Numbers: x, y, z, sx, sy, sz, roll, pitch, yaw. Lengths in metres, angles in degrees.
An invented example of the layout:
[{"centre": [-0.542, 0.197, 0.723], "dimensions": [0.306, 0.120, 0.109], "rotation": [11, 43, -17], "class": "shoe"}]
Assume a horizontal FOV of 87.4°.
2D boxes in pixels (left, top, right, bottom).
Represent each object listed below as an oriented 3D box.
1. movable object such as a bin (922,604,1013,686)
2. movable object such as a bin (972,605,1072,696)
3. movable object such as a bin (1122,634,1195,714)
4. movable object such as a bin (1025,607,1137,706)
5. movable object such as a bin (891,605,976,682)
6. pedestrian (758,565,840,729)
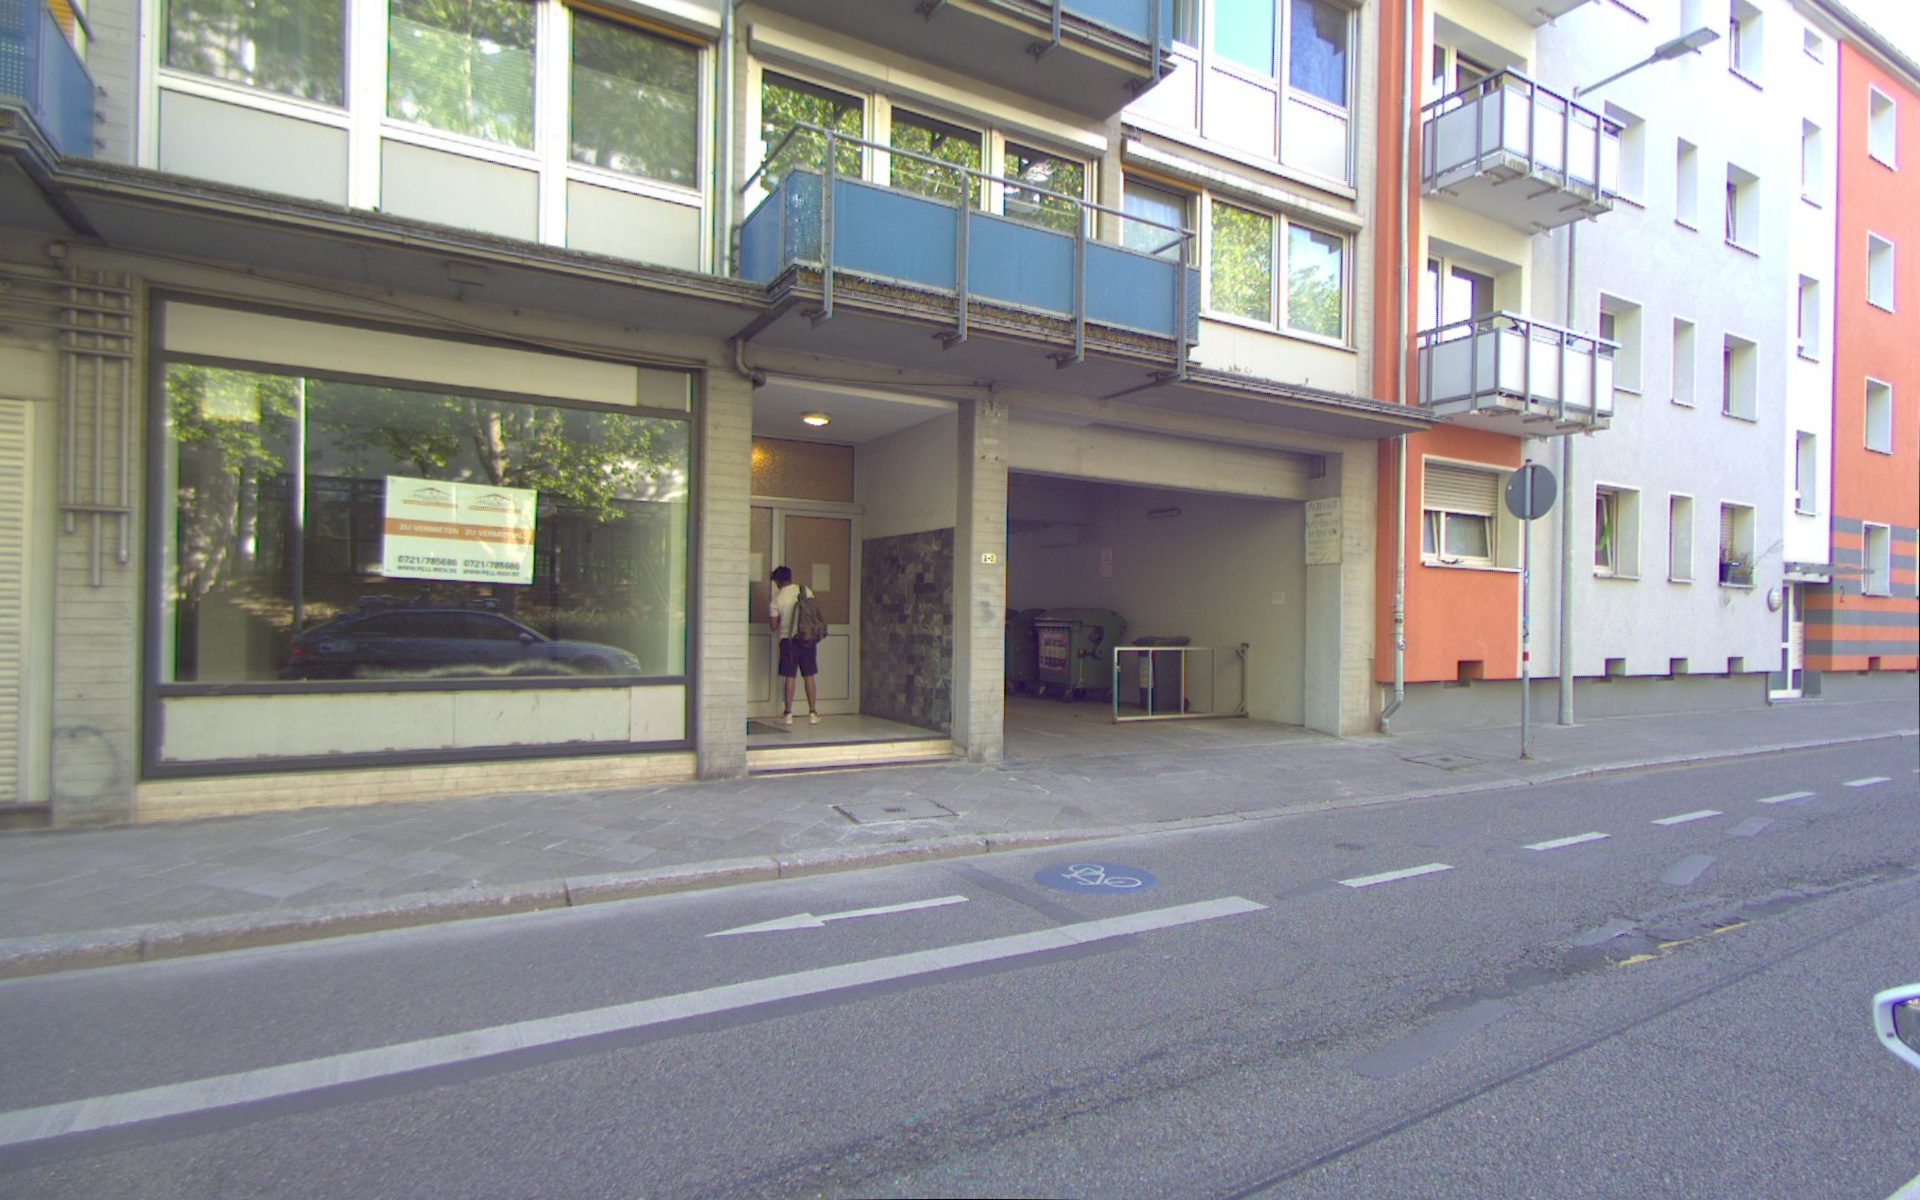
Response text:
[{"centre": [0.135, 0.819, 18.772], "dimensions": [1.182, 1.452, 1.300], "rotation": [2, 0, -30], "class": "movable object such as a bin"}, {"centre": [1.048, 0.840, 17.197], "dimensions": [1.182, 1.452, 1.300], "rotation": [2, 0, -30], "class": "movable object such as a bin"}, {"centre": [2.866, 1.053, 14.528], "dimensions": [0.707, 1.089, 0.735], "rotation": [2, 0, -30], "class": "movable object such as a bin"}, {"centre": [1.888, 0.859, 15.810], "dimensions": [1.182, 1.452, 1.300], "rotation": [2, 0, -30], "class": "movable object such as a bin"}, {"centre": [-0.533, 0.849, 19.936], "dimensions": [1.182, 1.452, 1.300], "rotation": [2, 0, -30], "class": "movable object such as a bin"}, {"centre": [-1.679, 0.465, 10.387], "dimensions": [0.558, 1.606, 0.919], "rotation": [1, 0, -28], "class": "pedestrian"}]
